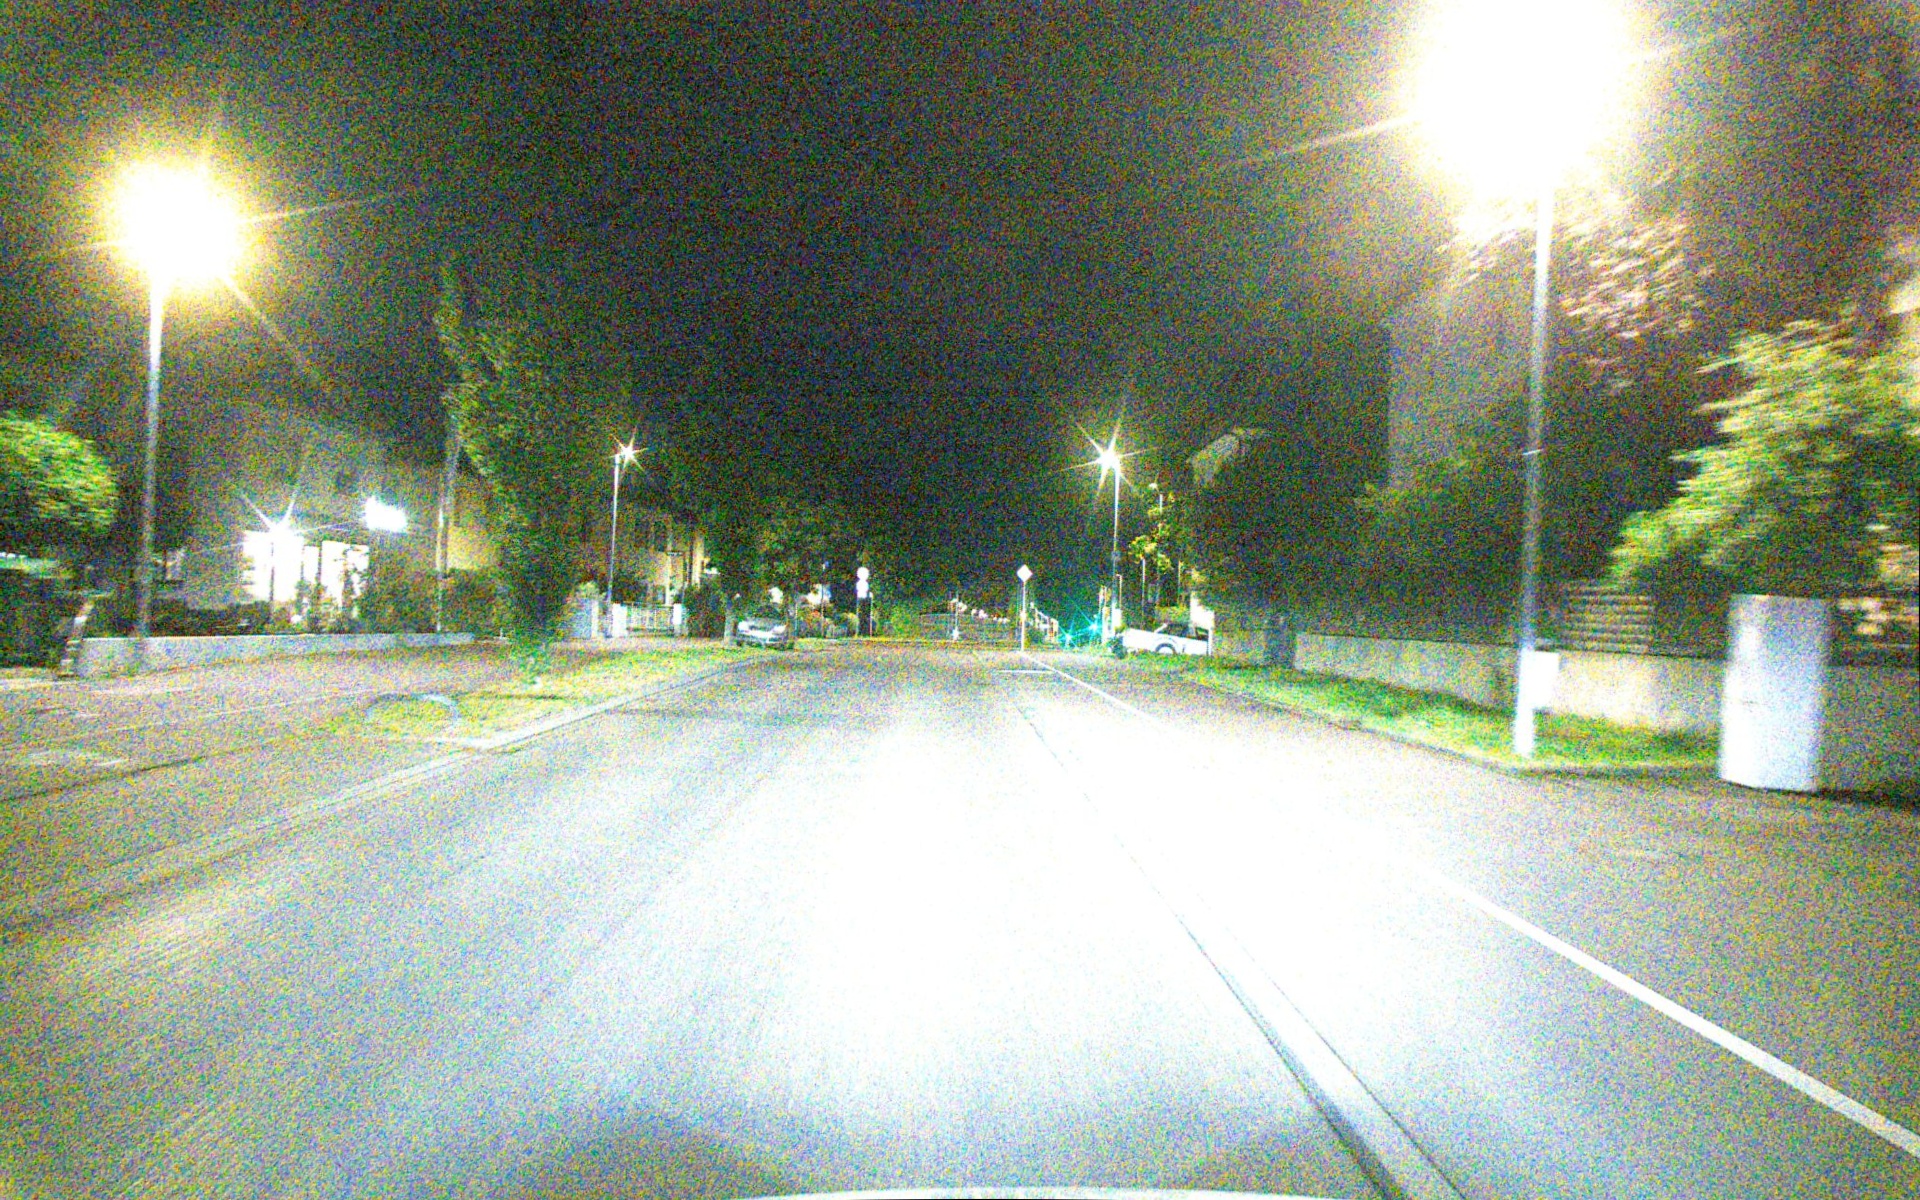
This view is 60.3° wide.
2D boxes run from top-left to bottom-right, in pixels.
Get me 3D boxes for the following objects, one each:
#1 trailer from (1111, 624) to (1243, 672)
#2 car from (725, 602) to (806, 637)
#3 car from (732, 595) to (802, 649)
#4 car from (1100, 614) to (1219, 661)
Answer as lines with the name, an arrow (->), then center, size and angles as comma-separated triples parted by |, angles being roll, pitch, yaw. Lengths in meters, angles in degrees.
trailer -> 6.070, 1.342, 46.514 | 3.363, 1.019, 1.954 | 5, -1, -1
car -> -9.846, 0.998, 83.811 | 3.635, 1.655, 1.783 | 1, -1, 18
car -> -6.238, 0.715, 53.739 | 1.638, 1.618, 3.987 | 2, 0, 1
car -> 6.053, 1.124, 50.481 | 3.324, 1.253, 1.723 | 3, 0, -3
